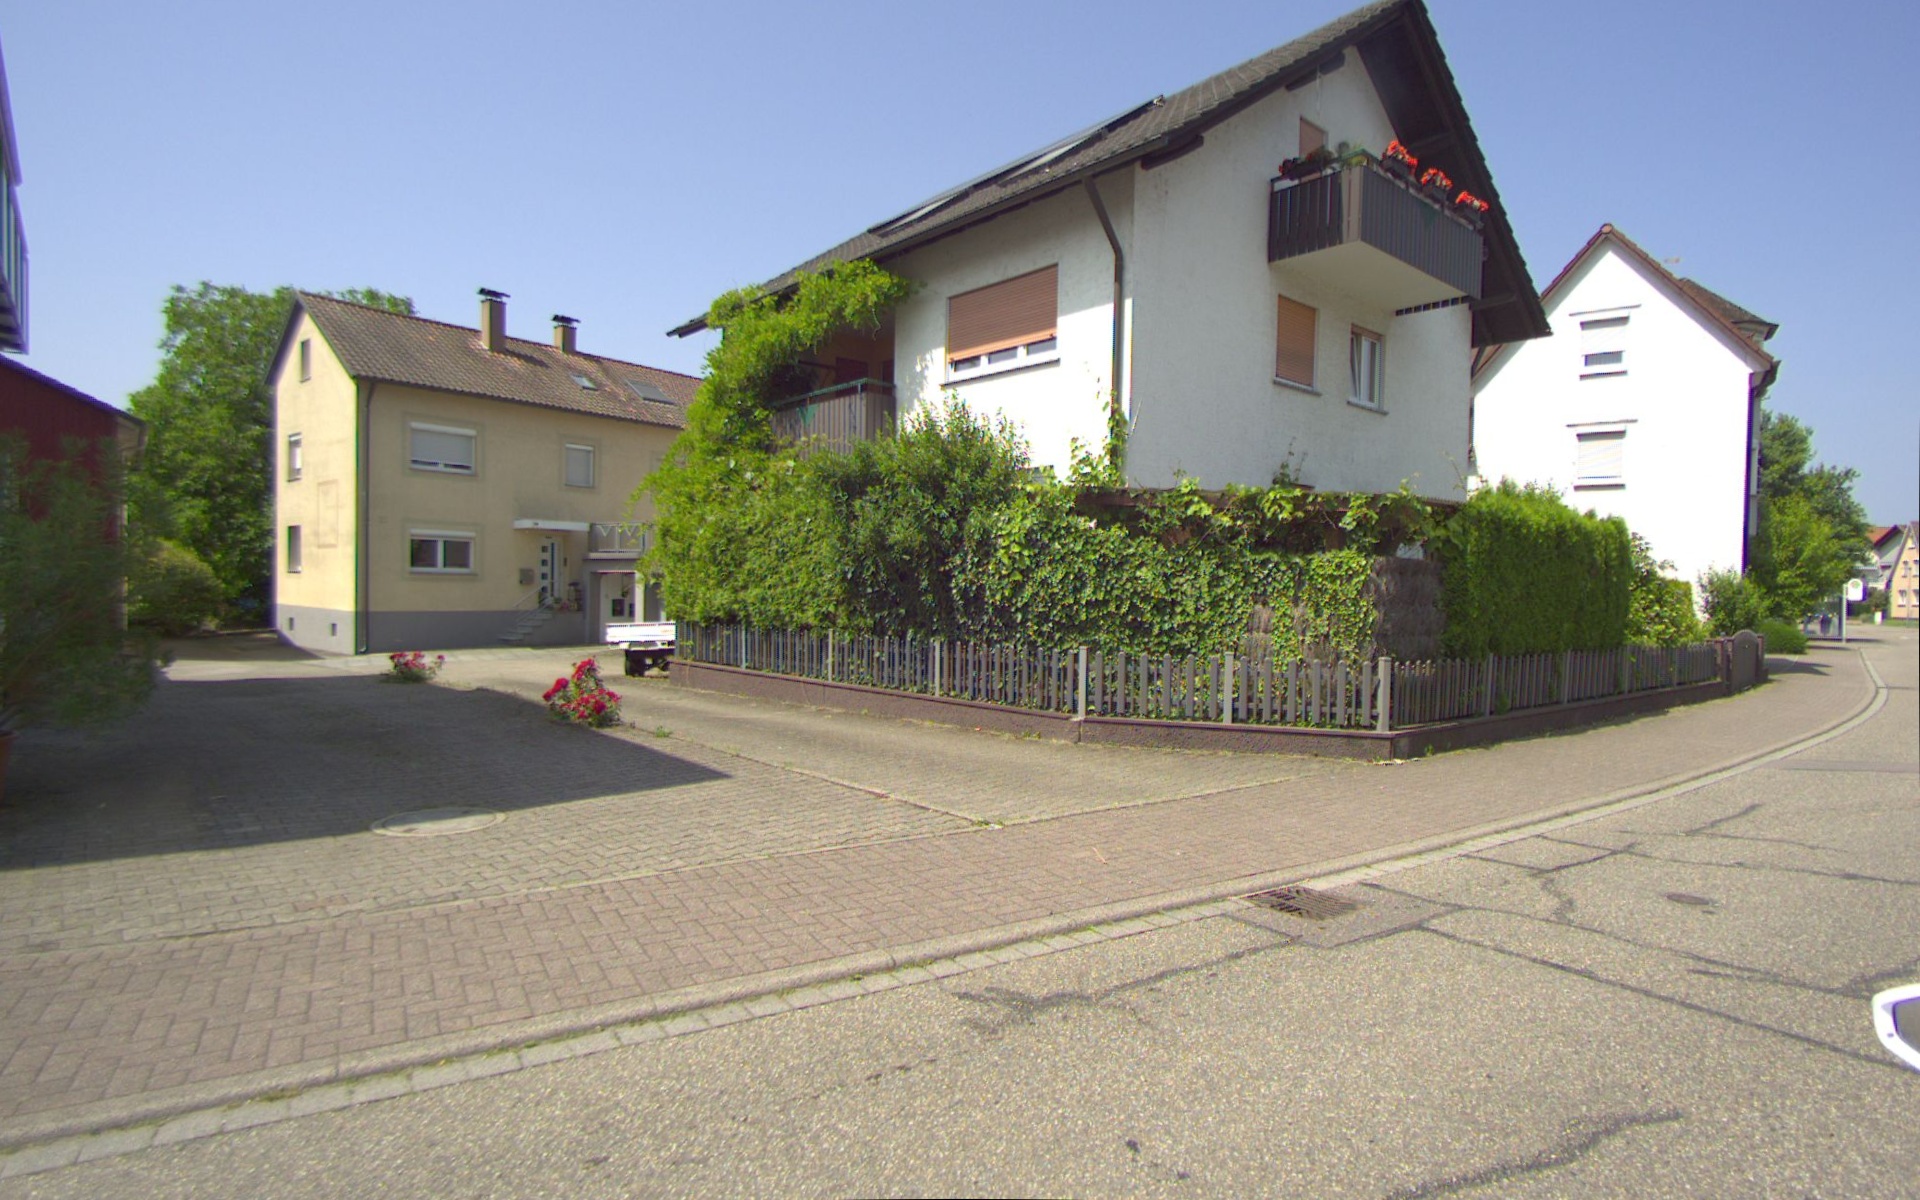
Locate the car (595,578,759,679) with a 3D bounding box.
[{"bbox_3d":[-5.475,0.586,20.110,1.694,1.779,4.676,0,-2,4],"label":"car"}]
